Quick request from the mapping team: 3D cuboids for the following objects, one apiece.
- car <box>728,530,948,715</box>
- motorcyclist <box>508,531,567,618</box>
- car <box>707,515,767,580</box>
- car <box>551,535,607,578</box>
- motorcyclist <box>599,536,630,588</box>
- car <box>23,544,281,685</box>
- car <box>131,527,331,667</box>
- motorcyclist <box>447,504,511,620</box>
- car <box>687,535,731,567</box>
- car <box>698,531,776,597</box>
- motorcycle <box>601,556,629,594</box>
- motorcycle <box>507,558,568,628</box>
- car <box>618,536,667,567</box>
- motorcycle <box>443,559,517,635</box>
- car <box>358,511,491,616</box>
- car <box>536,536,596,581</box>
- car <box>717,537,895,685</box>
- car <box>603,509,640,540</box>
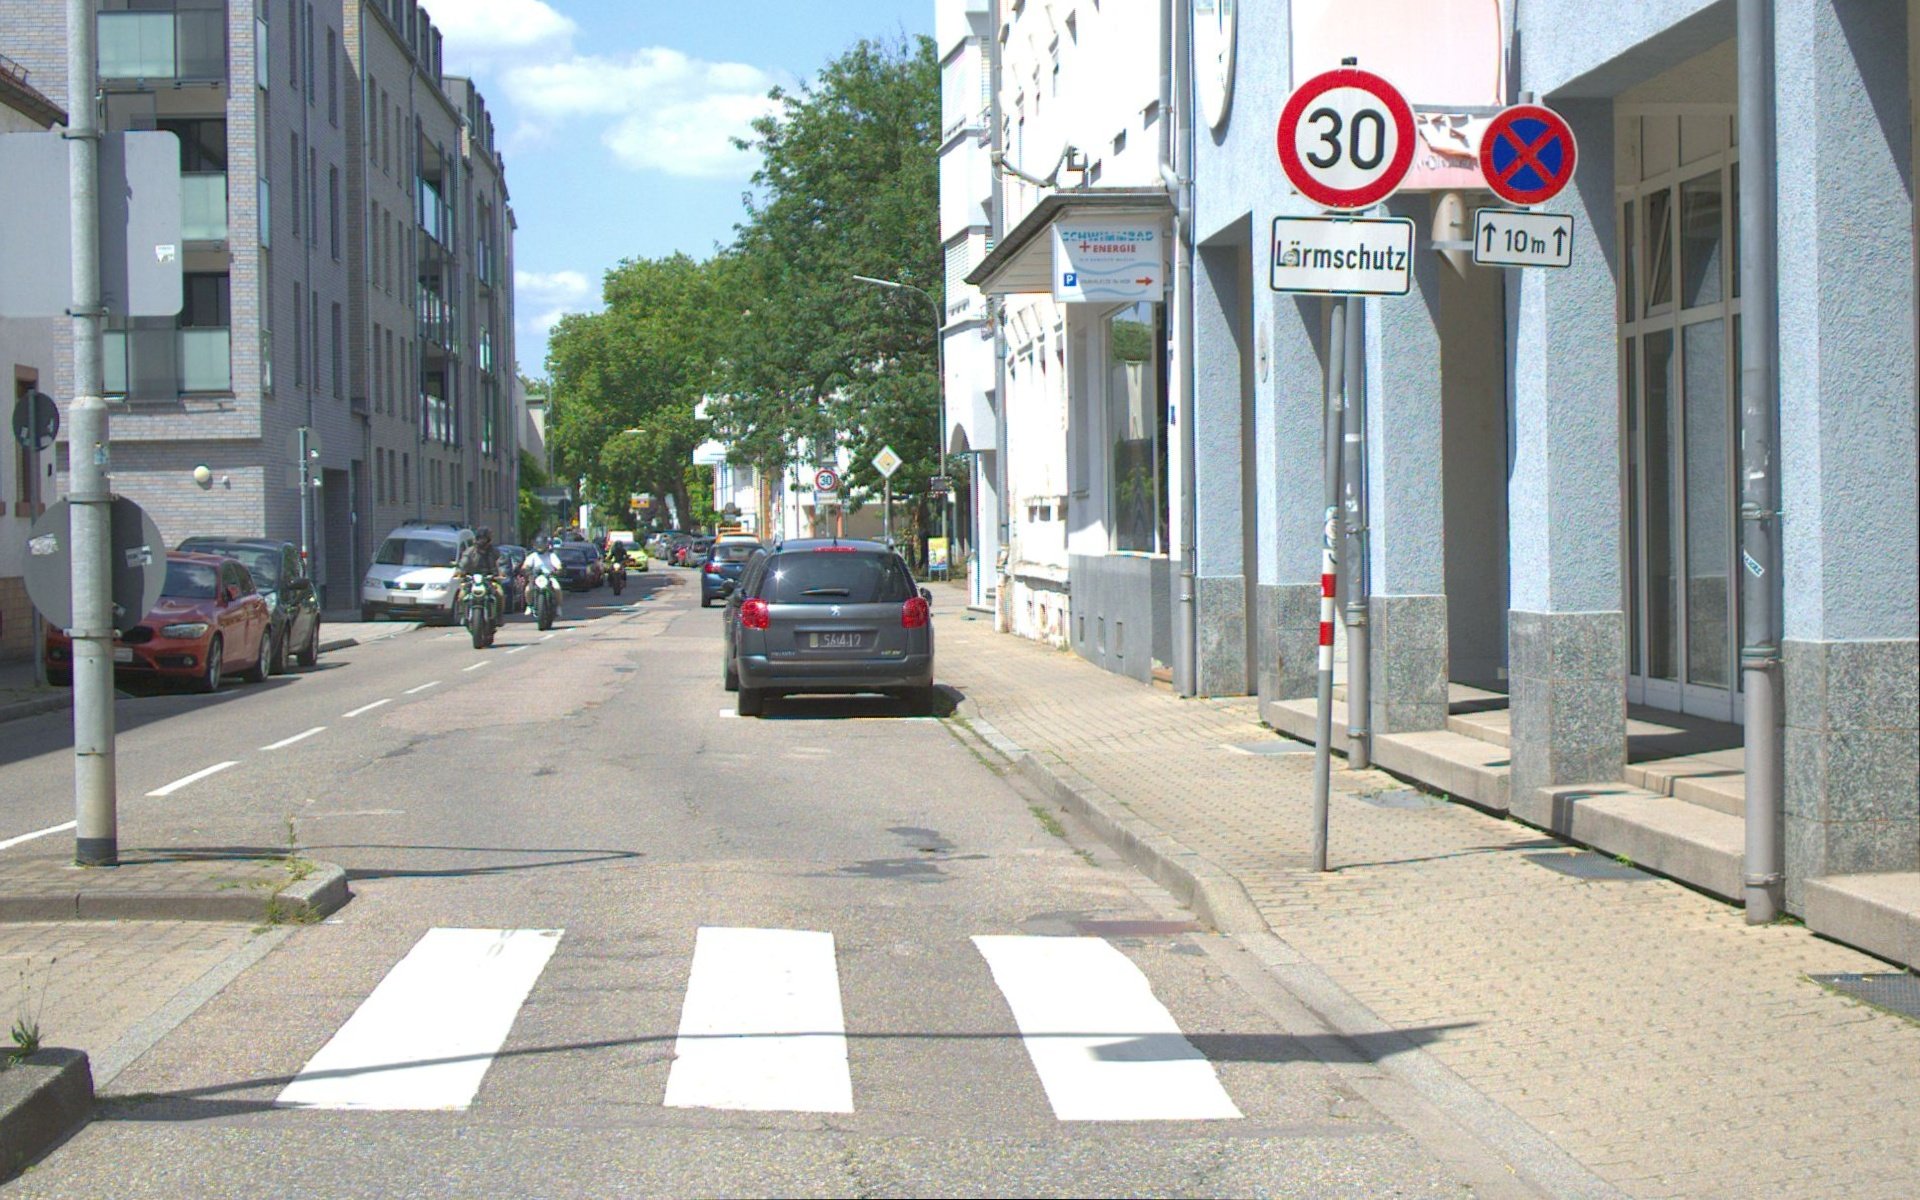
[{"bbox_3d":[-1.139,0.150,30.449,1.709,1.503,4.001,-1,1,-5],"label":"car"},{"bbox_3d":[-7.350,-0.453,59.855,0.916,1.475,1.203,-1,1,-3],"label":"motorcyclist"},{"bbox_3d":[-7.236,-1.725,111.890,1.839,2.006,4.001,-1,2,-3],"label":"car"},{"bbox_3d":[-13.053,-1.502,118.030,1.732,1.437,4.001,-1,1,-4],"label":"car"},{"bbox_3d":[-10.316,-1.137,102.722,0.822,1.504,1.057,-1,1,-3],"label":"motorcyclist"},{"bbox_3d":[-8.717,0.115,37.434,1.834,1.412,4.290,-1,1,-1],"label":"car"},{"bbox_3d":[-8.939,-0.069,42.426,1.794,1.641,3.945,0,1,-3],"label":"car"},{"bbox_3d":[-6.906,-0.551,49.353,0.713,1.628,1.069,-2,1,0],"label":"motorcyclist"},{"bbox_3d":[-13.032,-2.533,178.336,1.993,1.612,4.001,-1,1,-8],"label":"car"},{"bbox_3d":[-5.066,-0.839,78.381,1.715,1.397,4.001,-1,2,-3],"label":"car"},{"bbox_3d":[-10.311,-0.755,102.814,0.687,1.118,2.028,-1,1,-3],"label":"motorcycle"},{"bbox_3d":[-7.343,-0.136,59.859,0.896,1.172,2.208,-1,1,-3],"label":"motorcycle"},{"bbox_3d":[-14.728,-2.278,159.671,1.993,1.376,4.393,1,1,-1],"label":"car"},{"bbox_3d":[-6.898,-0.055,49.460,0.713,1.025,2.239,-2,2,0],"label":"motorcycle"},{"bbox_3d":[-10.129,-0.727,65.288,1.757,1.885,4.337,1,1,1],"label":"car"},{"bbox_3d":[-12.932,-1.370,113.019,1.732,1.437,4.001,-1,1,-4],"label":"car"},{"bbox_3d":[-1.652,0.067,36.046,1.729,1.415,4.546,-1,1,-3],"label":"car"},{"bbox_3d":[-22.637,-5.045,229.794,2.156,2.007,4.001,-1,1,-10],"label":"car"}]
